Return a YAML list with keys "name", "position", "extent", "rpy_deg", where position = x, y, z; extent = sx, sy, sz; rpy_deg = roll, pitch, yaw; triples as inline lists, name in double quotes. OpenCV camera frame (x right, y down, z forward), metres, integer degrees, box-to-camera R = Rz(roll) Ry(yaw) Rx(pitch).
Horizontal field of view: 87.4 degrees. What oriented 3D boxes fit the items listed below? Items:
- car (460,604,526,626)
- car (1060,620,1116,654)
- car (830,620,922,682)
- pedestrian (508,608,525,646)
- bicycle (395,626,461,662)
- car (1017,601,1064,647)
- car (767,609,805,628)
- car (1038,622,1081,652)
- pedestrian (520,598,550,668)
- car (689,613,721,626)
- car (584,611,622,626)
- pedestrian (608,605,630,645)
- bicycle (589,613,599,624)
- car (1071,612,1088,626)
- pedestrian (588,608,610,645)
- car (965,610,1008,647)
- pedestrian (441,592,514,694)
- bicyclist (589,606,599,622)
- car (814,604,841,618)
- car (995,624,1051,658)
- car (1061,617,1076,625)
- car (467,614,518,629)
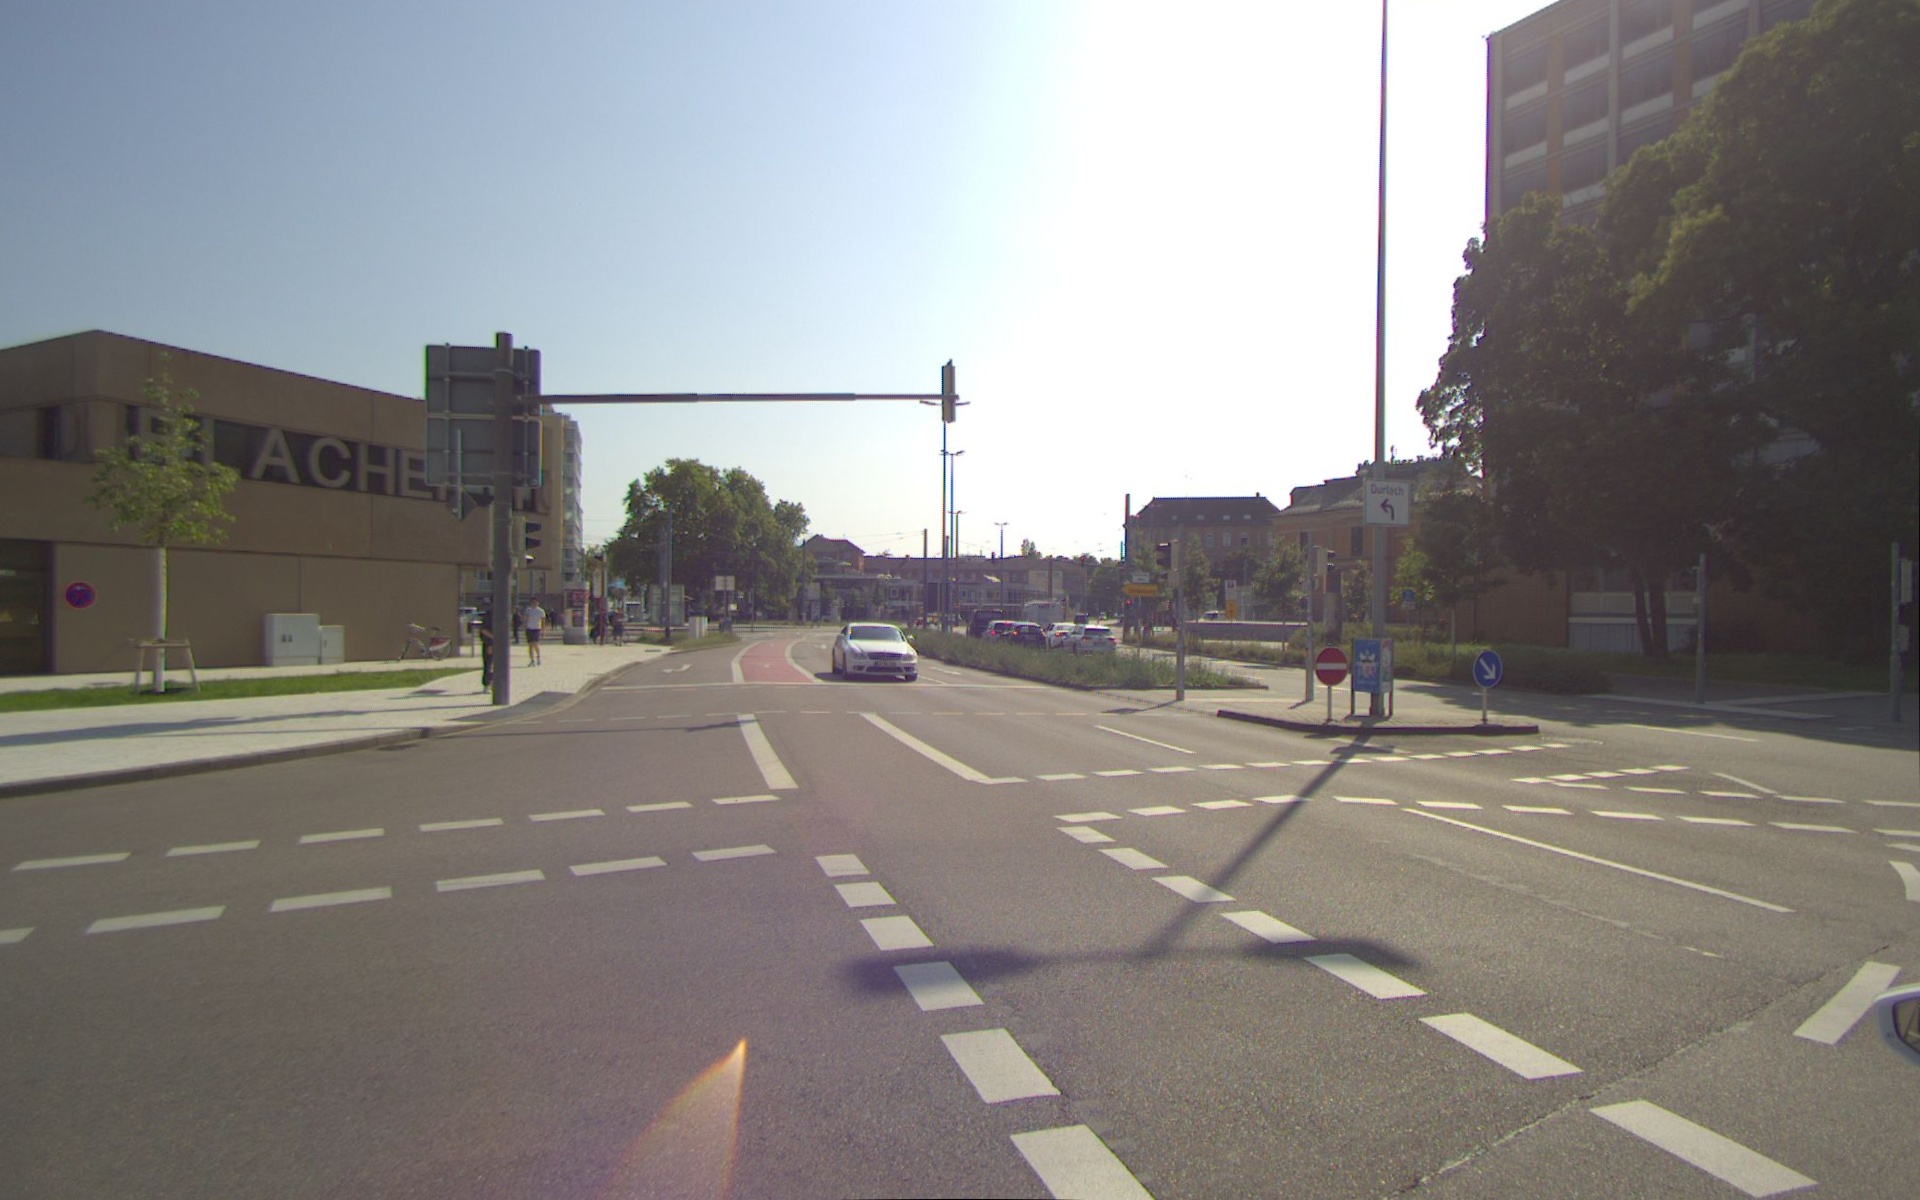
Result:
- name: "car"
  position: [-44.764, 1.434, 96.390]
  extent: [5.475, 2.040, 1.991]
  rpy_deg: [1, -1, -19]
- name: "car"
  position: [5.534, 1.598, 43.772]
  extent: [1.658, 1.406, 3.632]
  rpy_deg: [1, -2, -5]
- name: "car"
  position: [-2.295, 1.272, 26.281]
  extent: [1.815, 1.379, 4.809]
  rpy_deg: [2, -1, -11]
- name: "pedestrian"
  position: [-19.209, 1.149, 43.507]
  extent: [0.489, 1.601, 0.507]
  rpy_deg: [1, 2, -4]
- name: "bicycle"
  position: [-15.368, 1.266, 29.069]
  extent: [0.648, 0.968, 1.611]
  rpy_deg: [2, 0, 24]
- name: "car"
  position: [4.701, 1.423, 59.135]
  extent: [2.153, 2.583, 4.682]
  rpy_deg: [1, -1, -3]
- name: "car"
  position: [-19.291, 2.080, 111.167]
  extent: [3.937, 2.040, 1.992]
  rpy_deg: [1, 0, -18]
- name: "car"
  position: [4.943, 1.832, 50.328]
  extent: [1.465, 1.421, 3.940]
  rpy_deg: [1, -2, -5]
- name: "pedestrian"
  position: [-11.394, 0.885, 26.919]
  extent: [0.686, 1.857, 0.567]
  rpy_deg: [1, 0, -26]
- name: "car"
  position: [-32.658, 2.528, 128.694]
  extent: [3.933, 1.639, 1.808]
  rpy_deg: [1, -1, -15]
- name: "car"
  position: [-40.698, 2.064, 114.582]
  extent: [3.936, 1.579, 1.861]
  rpy_deg: [1, 2, -18]
- name: "pedestrian"
  position: [-15.346, 1.138, 45.247]
  extent: [0.673, 1.783, 0.869]
  rpy_deg: [1, -1, -39]
- name: "bicycle"
  position: [-32.201, 1.619, 88.358]
  extent: [0.719, 0.997, 1.723]
  rpy_deg: [1, -1, -22]
- name: "car"
  position: [18.373, 2.855, 154.154]
  extent: [2.371, 2.040, 4.781]
  rpy_deg: [0, -1, 10]
- name: "pedestrian"
  position: [-18.164, 1.332, 50.528]
  extent: [0.860, 1.802, 0.847]
  rpy_deg: [1, 2, -9]
- name: "car"
  position: [1.463, 1.603, 57.525]
  extent: [1.991, 2.034, 4.681]
  rpy_deg: [1, -1, -4]
- name: "pedestrian"
  position: [-9.052, 0.799, 18.888]
  extent: [1.063, 1.864, 0.728]
  rpy_deg: [1, 0, -10]
- name: "bicyclist"
  position: [-32.179, 1.231, 88.330]
  extent: [0.717, 1.453, 0.686]
  rpy_deg: [1, -1, -22]
- name: "car"
  position: [-20.148, 1.653, 152.582]
  extent: [3.926, 2.041, 1.997]
  rpy_deg: [1, 2, -8]
- name: "car"
  position: [2.714, 1.781, 44.115]
  extent: [1.675, 1.386, 3.958]
  rpy_deg: [1, -1, -8]
- name: "car"
  position: [21.185, 4.049, 196.000]
  extent: [1.960, 1.461, 4.001]
  rpy_deg: [0, -1, 18]
- name: "car"
  position: [-41.013, 1.922, 88.189]
  extent: [3.778, 1.195, 1.572]
  rpy_deg: [1, -3, -15]
